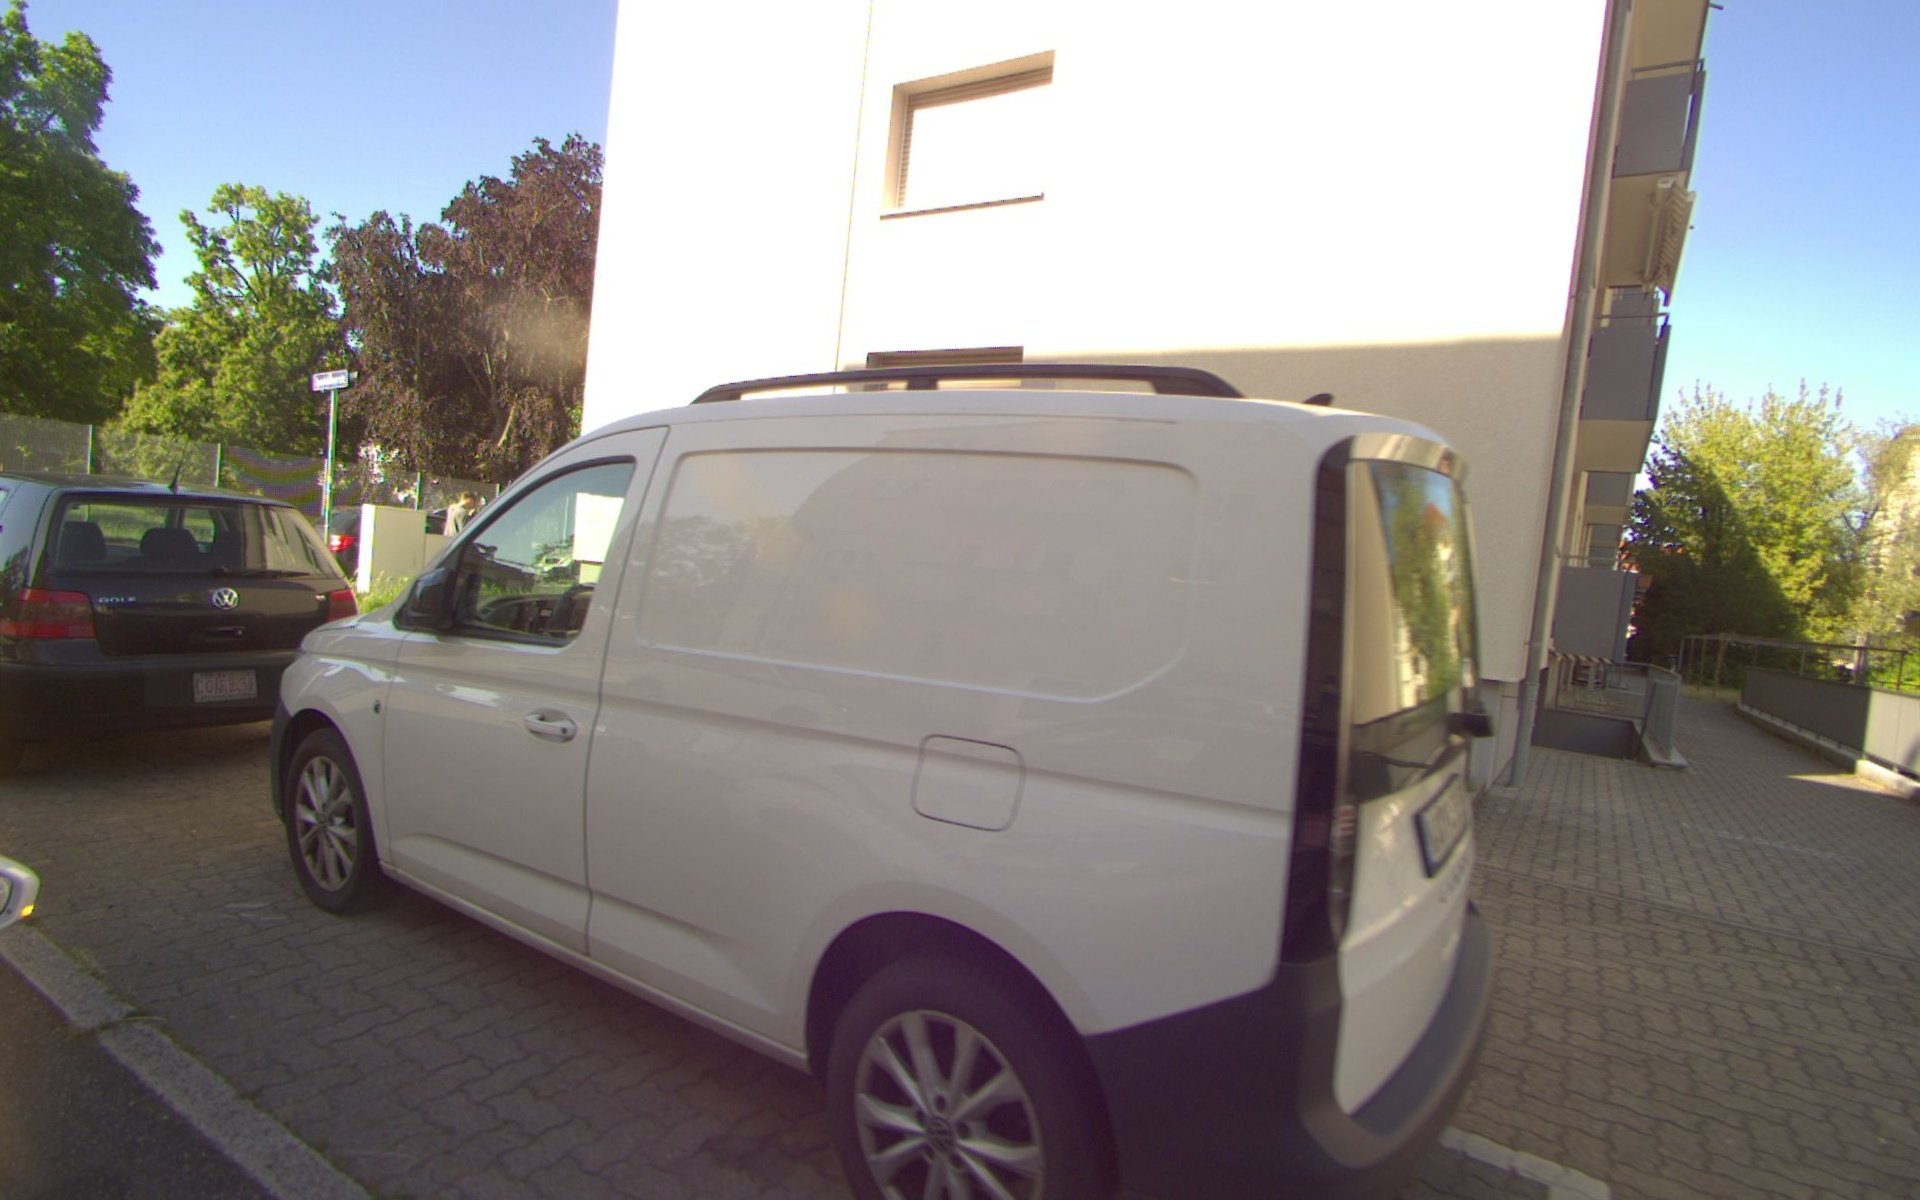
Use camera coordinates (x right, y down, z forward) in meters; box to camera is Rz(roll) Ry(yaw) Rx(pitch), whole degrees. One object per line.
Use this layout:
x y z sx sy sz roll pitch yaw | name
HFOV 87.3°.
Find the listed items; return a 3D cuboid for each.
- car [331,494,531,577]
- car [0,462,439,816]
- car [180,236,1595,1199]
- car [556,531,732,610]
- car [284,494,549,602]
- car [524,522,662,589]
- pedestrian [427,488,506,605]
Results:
-13.189 -1.559 25.334 1.690 1.685 4.153 4 0 31 | car
-5.063 -0.039 5.873 3.982 1.435 1.796 7 5 32 | car
-0.644 0.234 3.358 4.466 1.872 1.795 7 5 34 | car
-7.368 -0.650 23.802 1.583 1.504 3.787 8 2 31 | car
-10.055 -0.901 18.934 1.596 1.568 4.075 7 1 30 | car
-10.703 -1.263 29.565 1.543 1.664 3.606 3 0 31 | car
-8.100 -0.864 16.528 0.636 1.795 0.838 8 3 31 | pedestrian
